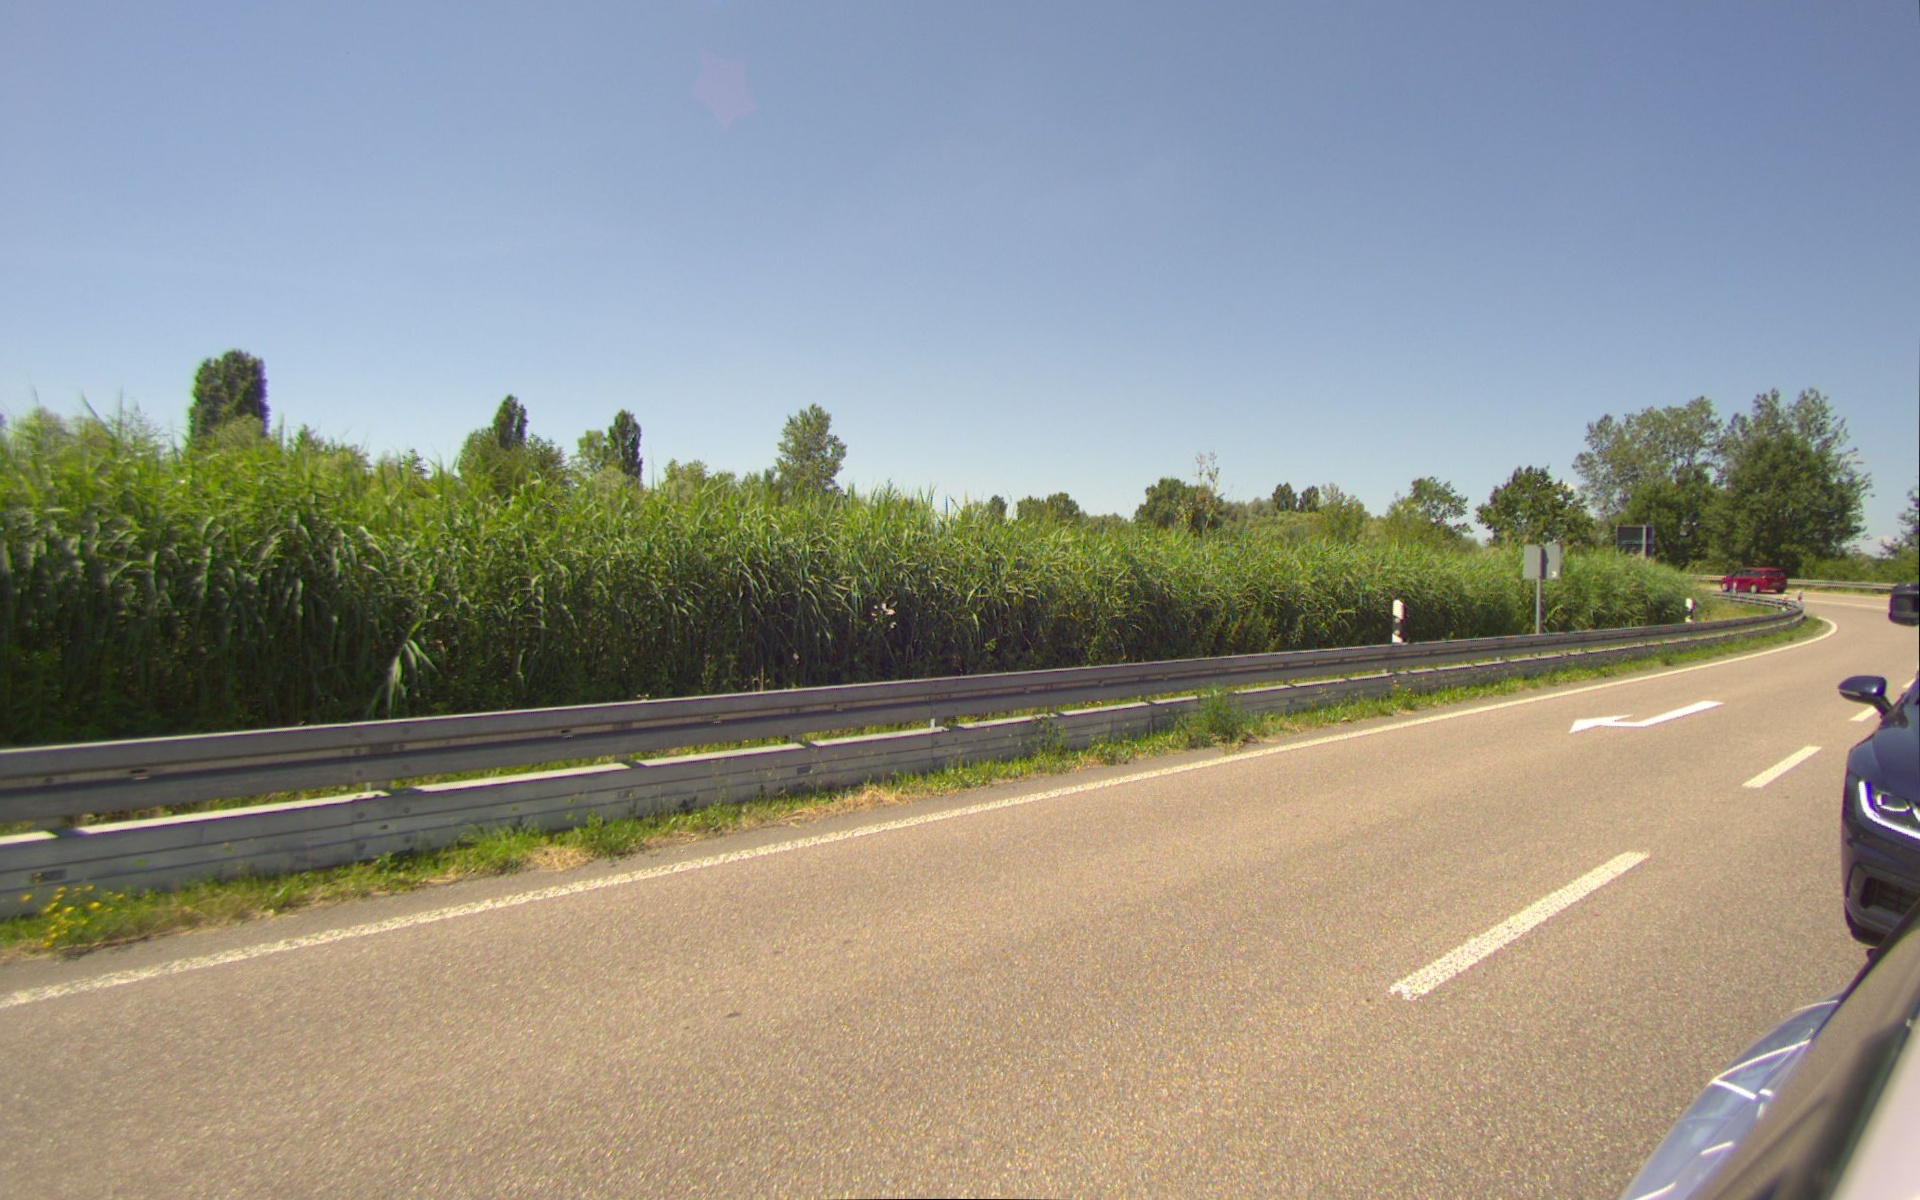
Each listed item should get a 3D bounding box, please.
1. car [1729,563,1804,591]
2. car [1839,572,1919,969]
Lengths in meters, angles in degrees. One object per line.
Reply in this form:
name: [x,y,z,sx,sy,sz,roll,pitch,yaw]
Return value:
car: [53.020,-1.541,66.592,1.711,1.706,4.206,1,2,4]
car: [5.658,0.624,4.684,4.338,1.481,1.818,-1,1,-41]
